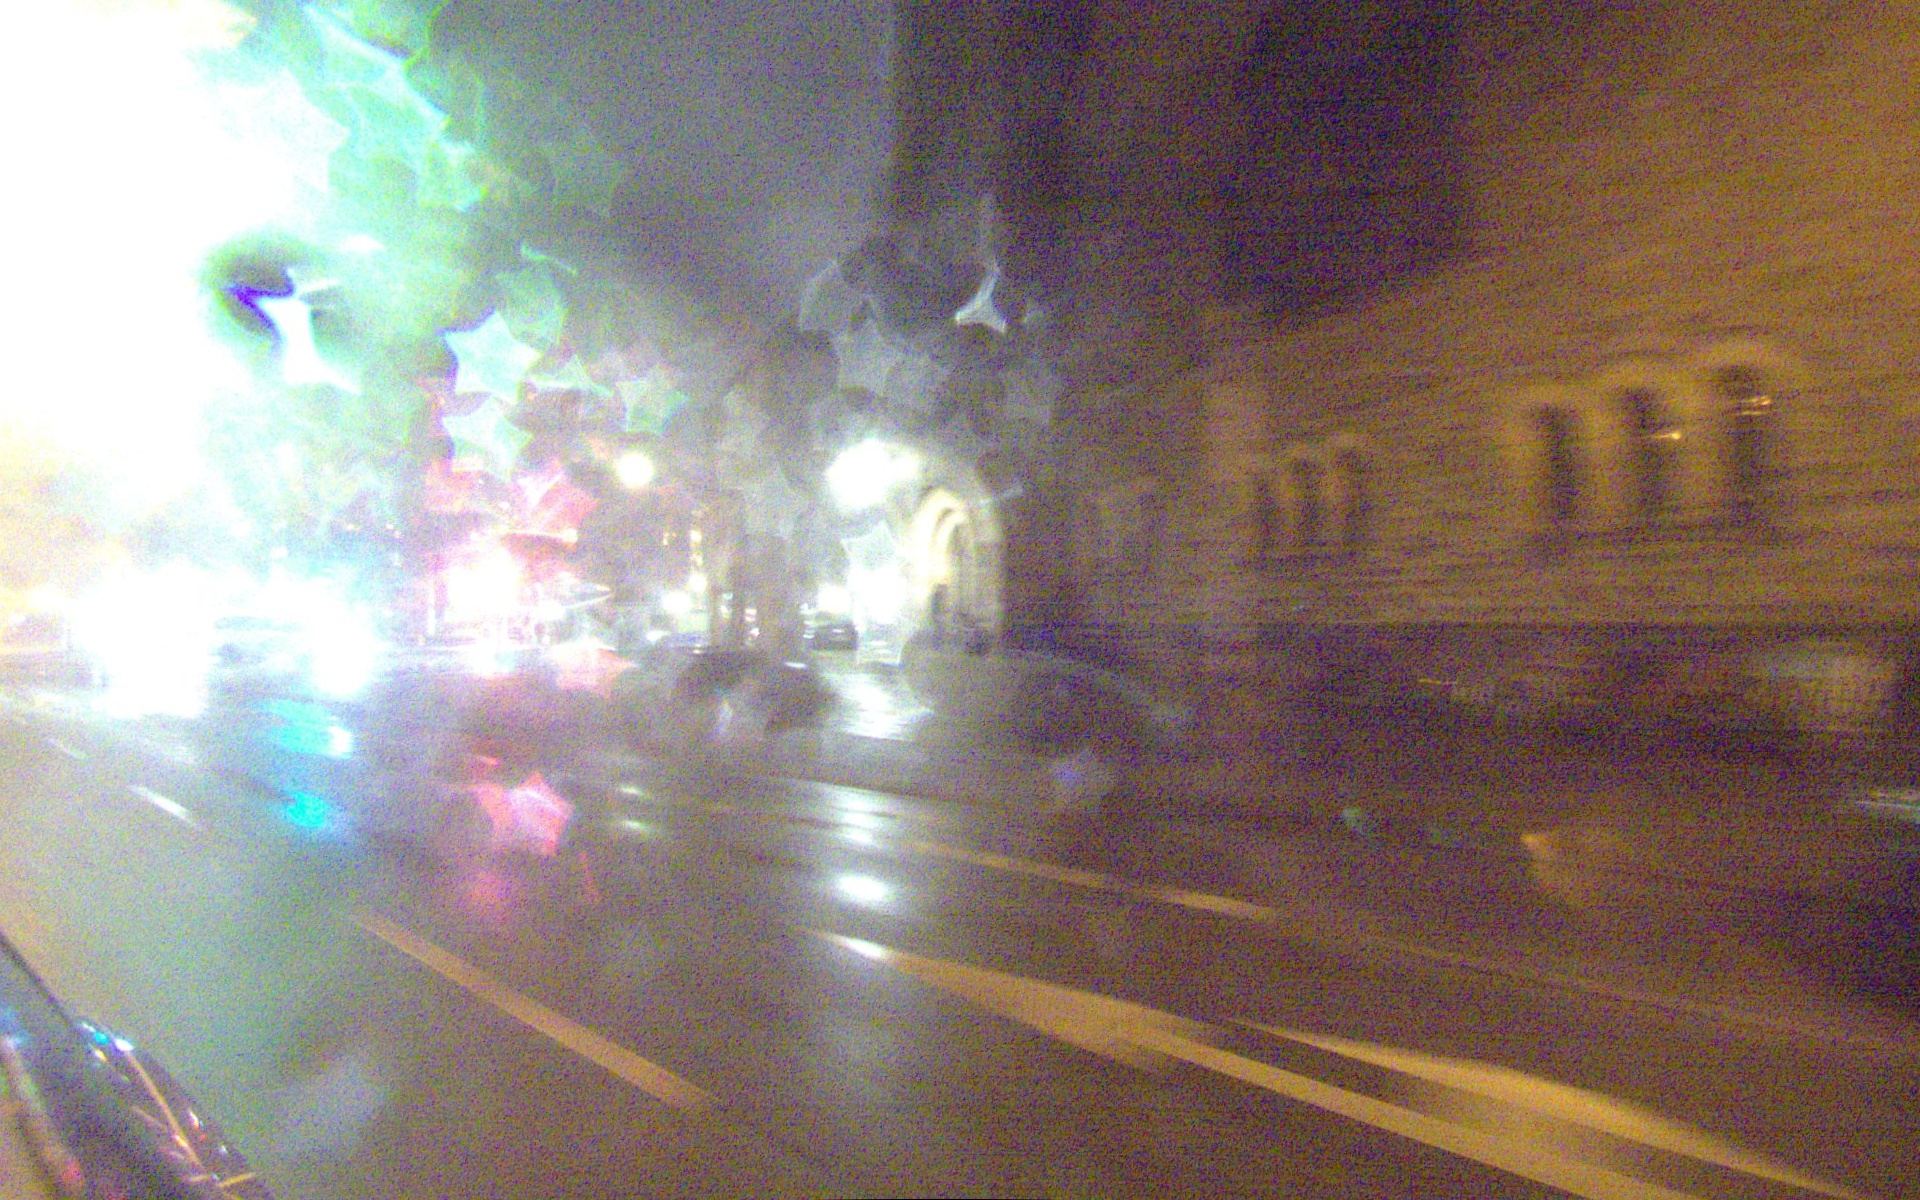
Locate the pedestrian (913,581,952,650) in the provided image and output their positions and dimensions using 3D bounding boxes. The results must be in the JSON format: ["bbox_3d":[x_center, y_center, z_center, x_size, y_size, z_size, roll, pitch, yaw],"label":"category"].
[{"bbox_3d":[-0.683,0.379,25.339,0.785,1.688,0.626,-1,0,15],"label":"pedestrian"}]

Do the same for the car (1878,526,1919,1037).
[{"bbox_3d":[5.366,0.545,2.570,4.409,1.683,1.793,-2,-1,42],"label":"car"}]

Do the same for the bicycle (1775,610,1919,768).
[{"bbox_3d":[7.546,0.683,8.402,1.937,1.189,0.543,0,-1,-30],"label":"bicycle"}]

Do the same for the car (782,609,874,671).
[{"bbox_3d":[-4.080,1.213,30.702,1.671,1.741,4.013,1,-3,-24],"label":"car"}]

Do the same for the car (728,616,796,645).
[{"bbox_3d":[-12.519,1.911,64.006,3.930,1.785,2.006,0,-1,-22],"label":"car"}]

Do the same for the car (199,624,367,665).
[{"bbox_3d":[-25.439,1.661,38.169,4.994,1.436,2.001,0,-1,-2],"label":"car"}]

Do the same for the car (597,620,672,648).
[{"bbox_3d":[-19.629,2.022,61.100,4.147,1.578,1.856,0,-1,-23],"label":"car"}]
